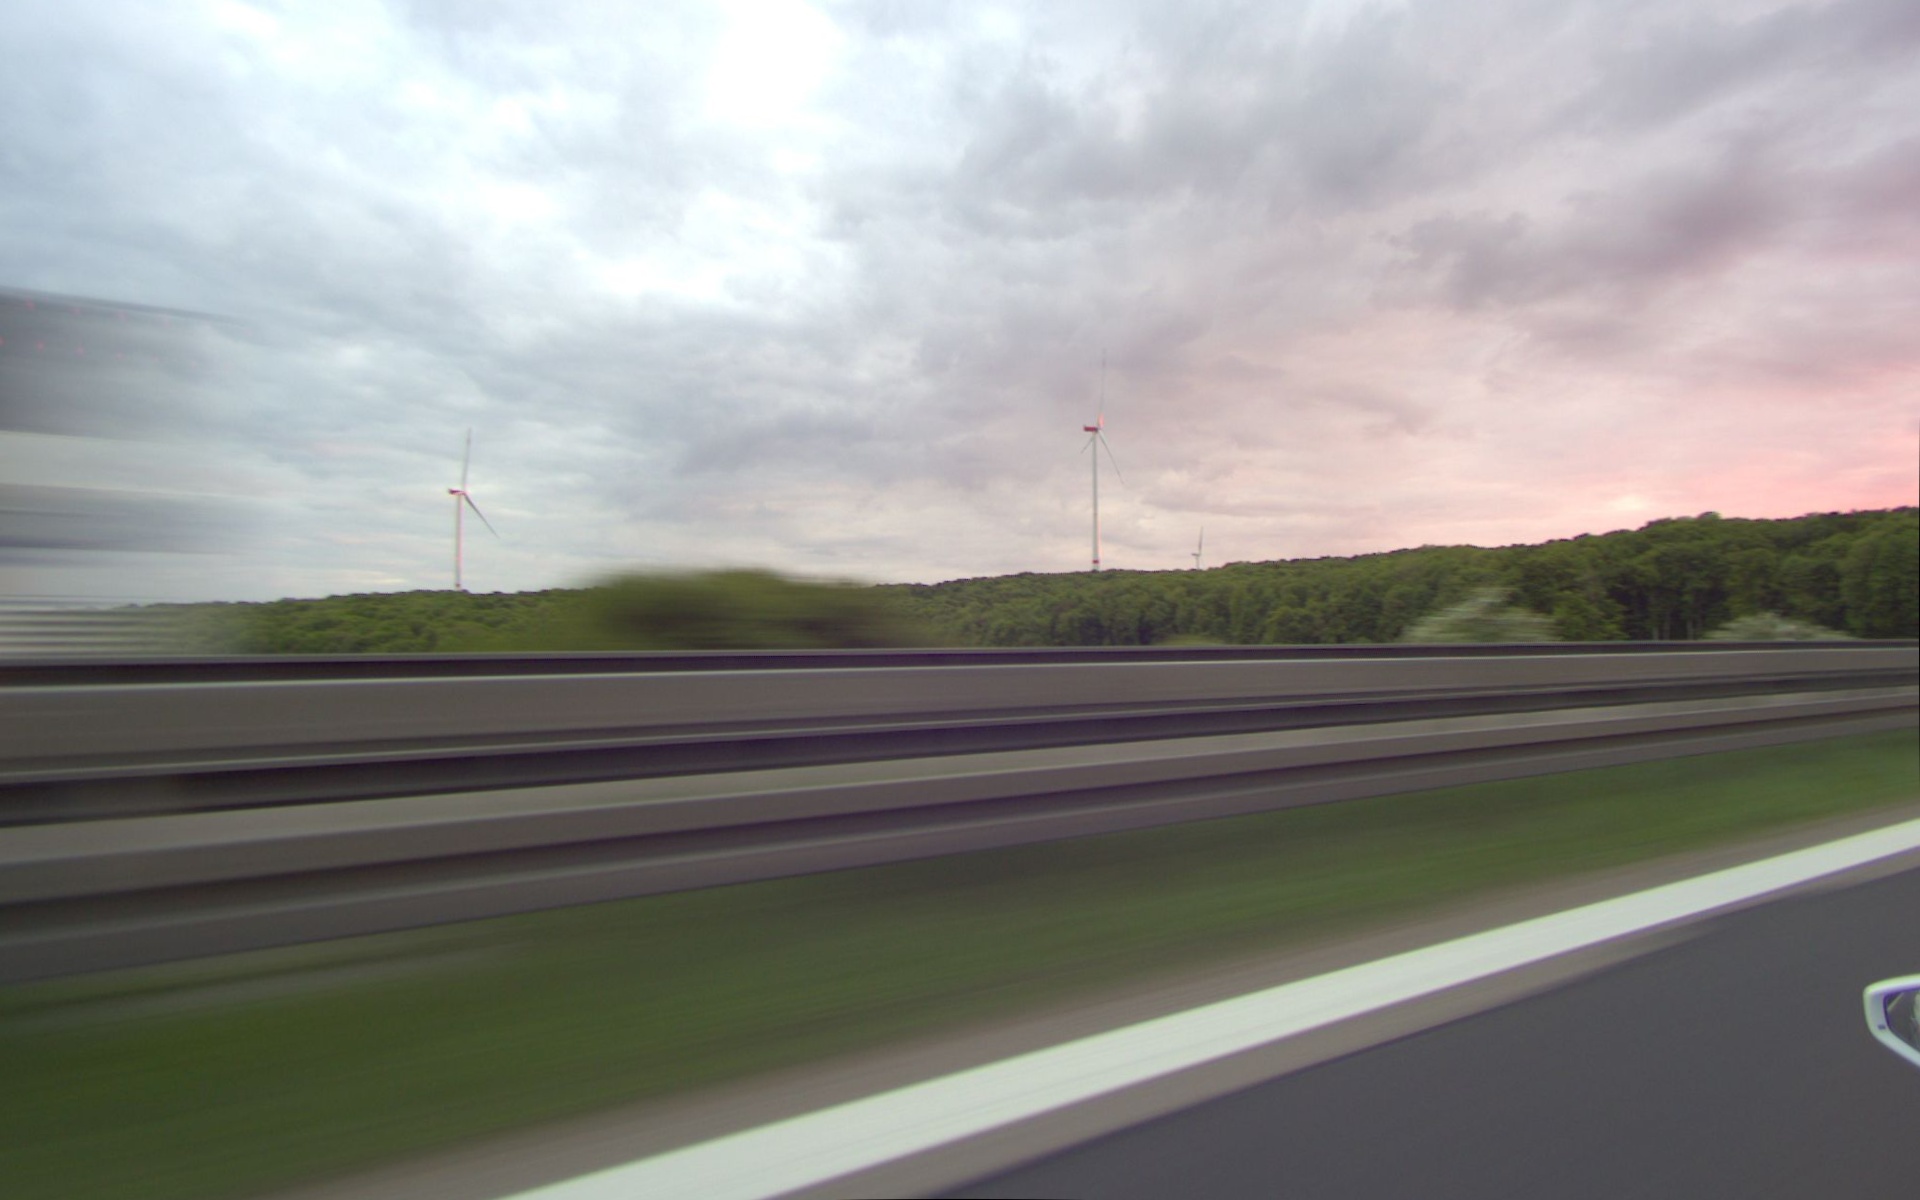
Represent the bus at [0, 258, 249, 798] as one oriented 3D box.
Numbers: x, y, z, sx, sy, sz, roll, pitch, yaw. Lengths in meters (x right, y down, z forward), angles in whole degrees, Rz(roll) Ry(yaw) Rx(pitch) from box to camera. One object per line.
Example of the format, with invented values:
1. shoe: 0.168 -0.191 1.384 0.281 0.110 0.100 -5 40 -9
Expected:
1. bus: -13.246 -0.733 5.789 14.649 4.130 3.148 2 0 -33
